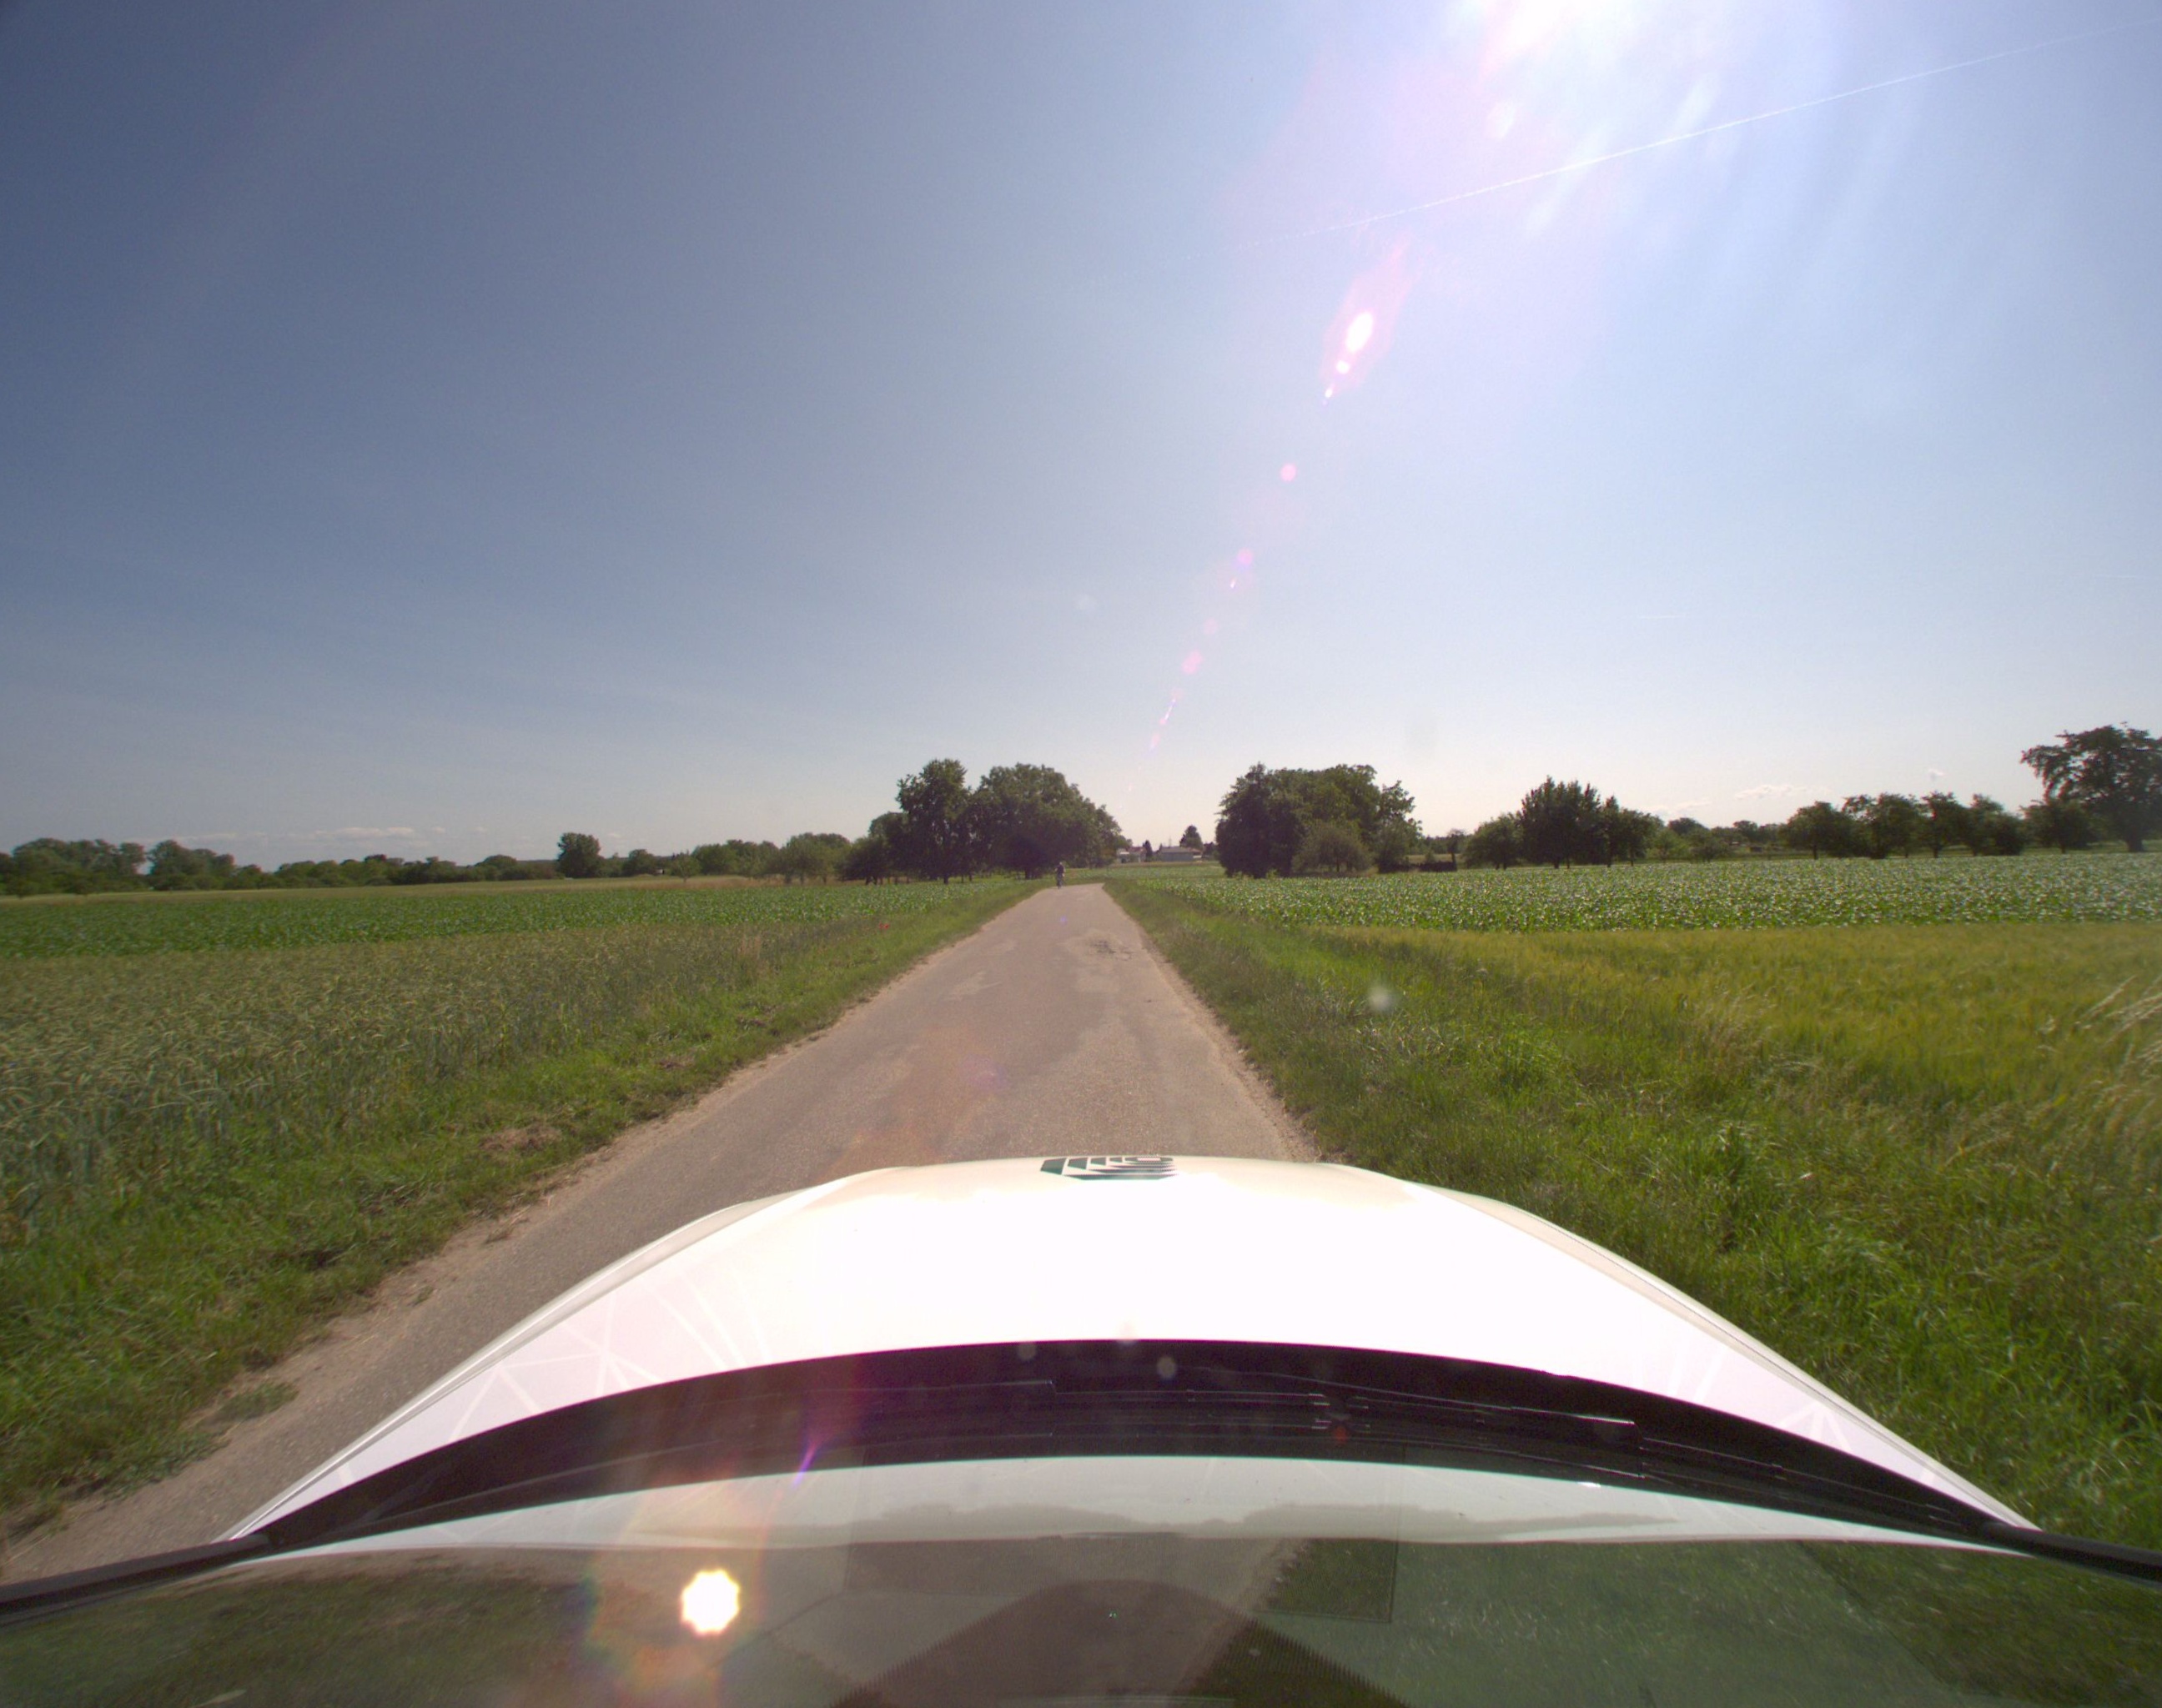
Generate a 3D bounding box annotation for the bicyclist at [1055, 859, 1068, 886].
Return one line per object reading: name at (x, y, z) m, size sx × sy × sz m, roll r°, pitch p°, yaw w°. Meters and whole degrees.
bicyclist at (-1.350, 1.279, 55.998) m, size 0.747 × 1.791 × 0.718 m, roll -3°, pitch -1°, yaw 6°

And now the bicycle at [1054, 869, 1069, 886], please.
bicycle at (-1.337, 1.611, 55.988) m, size 0.747 × 1.127 × 1.911 m, roll -3°, pitch -1°, yaw 6°
